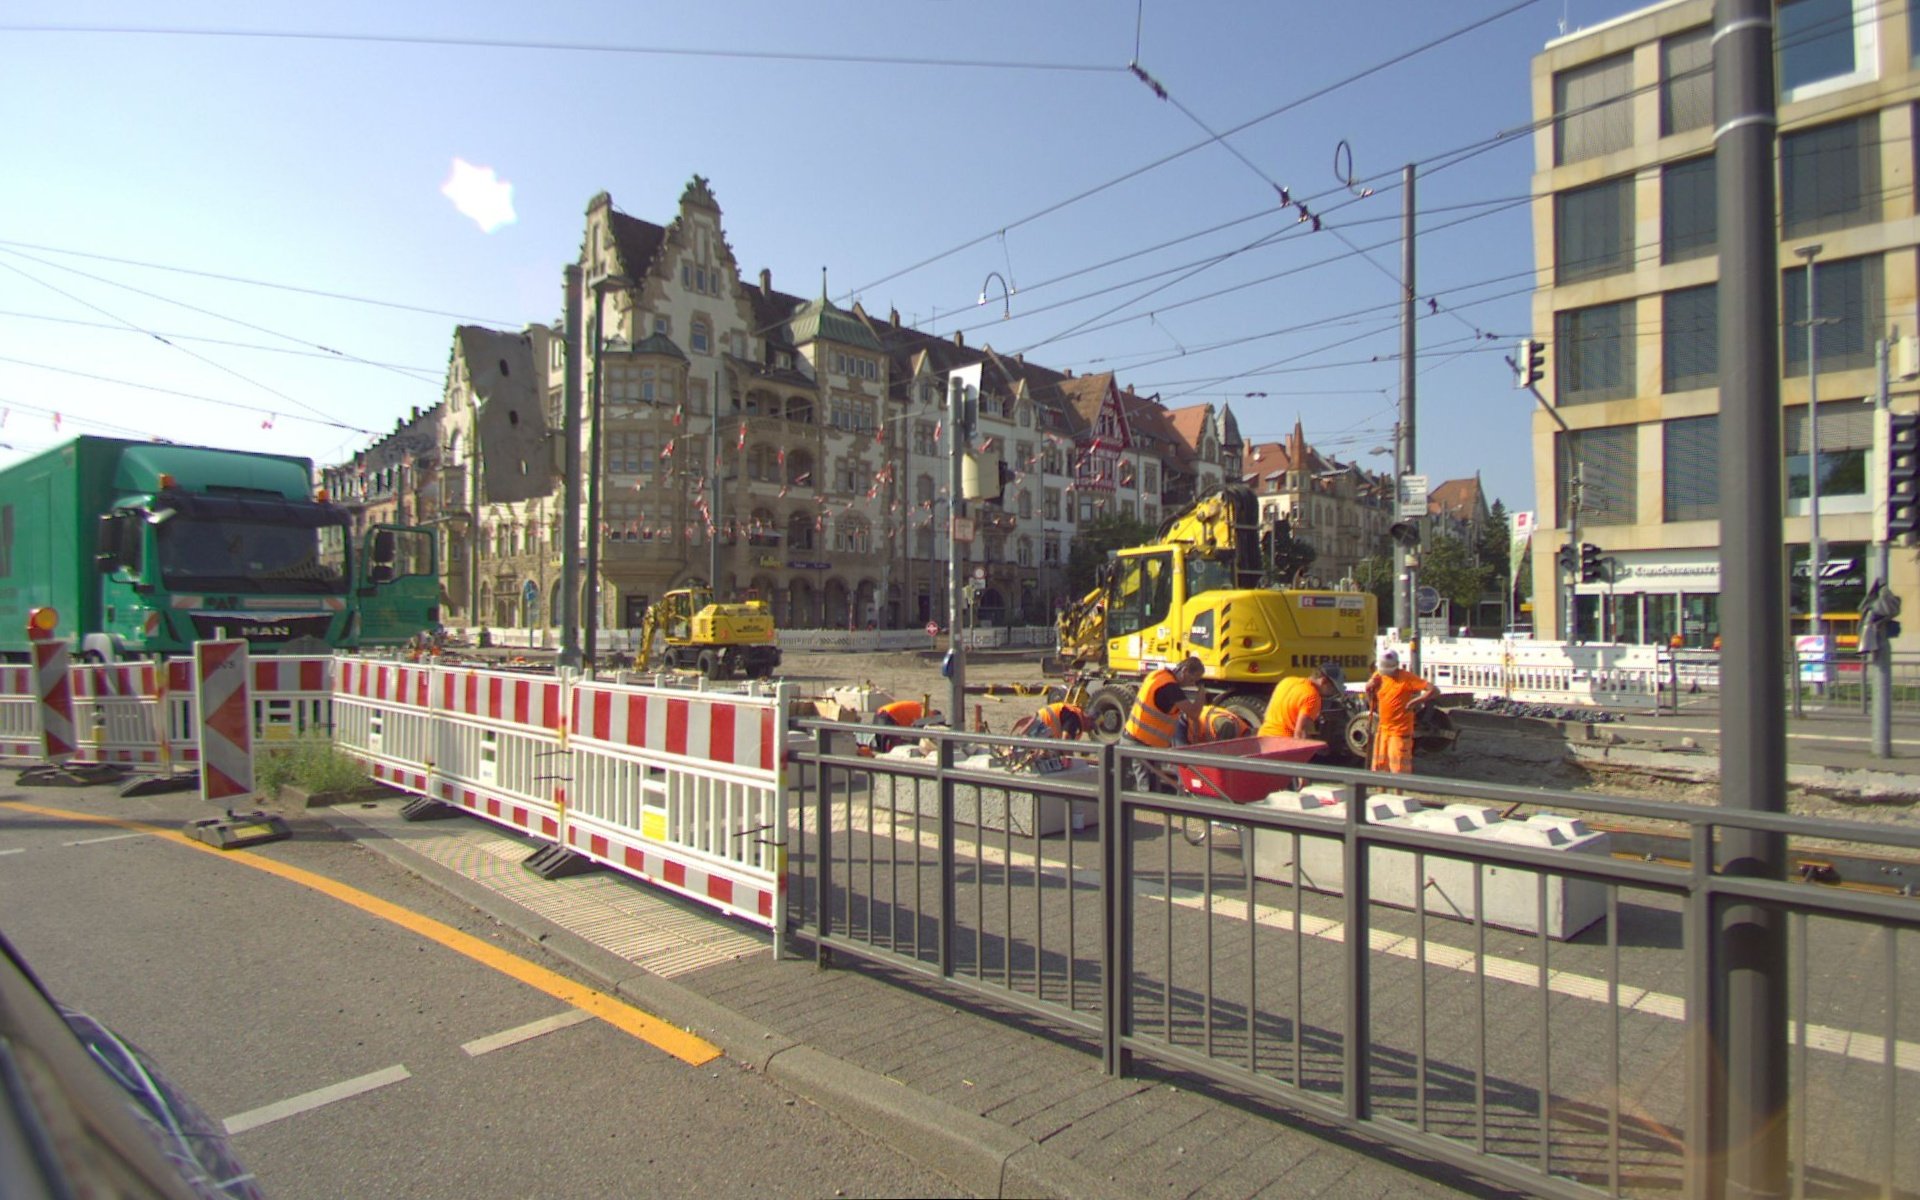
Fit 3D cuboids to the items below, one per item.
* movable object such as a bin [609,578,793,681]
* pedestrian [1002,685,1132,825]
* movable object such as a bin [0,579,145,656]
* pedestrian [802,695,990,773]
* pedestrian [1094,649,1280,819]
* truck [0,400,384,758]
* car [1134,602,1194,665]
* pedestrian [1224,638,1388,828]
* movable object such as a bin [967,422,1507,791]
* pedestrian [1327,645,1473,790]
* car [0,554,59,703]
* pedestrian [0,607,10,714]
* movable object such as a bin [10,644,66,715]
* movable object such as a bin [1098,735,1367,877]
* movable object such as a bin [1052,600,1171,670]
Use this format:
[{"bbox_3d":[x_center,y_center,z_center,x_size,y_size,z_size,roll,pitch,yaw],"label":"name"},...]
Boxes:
[{"bbox_3d":[-9.641,1.048,36.923,2.812,3.355,8.354,2,-2,-43],"label":"movable object such as a bin"},{"bbox_3d":[0.999,1.433,9.613,0.968,1.199,0.801,1,-2,-21],"label":"pedestrian"},{"bbox_3d":[-41.836,0.824,46.806,2.105,3.371,6.110,-1,-1,25],"label":"movable object such as a bin"},{"bbox_3d":[-0.668,1.412,10.961,1.878,0.641,0.913,1,-2,-41],"label":"pedestrian"},{"bbox_3d":[1.903,1.083,8.561,1.293,1.316,0.801,1,-2,-21],"label":"pedestrian"},{"bbox_3d":[-11.257,-0.126,13.976,8.199,3.706,2.649,-1,-2,37],"label":"truck"},{"bbox_3d":[7.249,1.194,35.658,1.800,2.046,5.094,0,-2,15],"label":"car"},{"bbox_3d":[2.566,0.944,7.570,0.825,1.316,0.801,1,-2,-21],"label":"pedestrian"},{"bbox_3d":[3.376,0.220,15.924,3.454,4.044,9.070,1,-2,-21],"label":"movable object such as a bin"},{"bbox_3d":[4.371,1.115,10.060,1.002,1.316,0.984,2,-3,-41],"label":"pedestrian"},{"bbox_3d":[-20.100,0.544,19.991,5.157,2.750,2.206,-1,-2,34],"label":"car"},{"bbox_3d":[-15.569,0.950,15.829,0.696,1.706,0.767,1,-1,-9],"label":"pedestrian"},{"bbox_3d":[-15.527,1.314,17.062,0.635,1.100,1.483,2,-2,-41],"label":"movable object such as a bin"},{"bbox_3d":[1.672,1.222,6.226,1.484,0.657,0.704,1,-2,-24],"label":"movable object such as a bin"},{"bbox_3d":[6.450,1.452,42.561,2.136,2.760,5.548,-1,-2,45],"label":"movable object such as a bin"}]
